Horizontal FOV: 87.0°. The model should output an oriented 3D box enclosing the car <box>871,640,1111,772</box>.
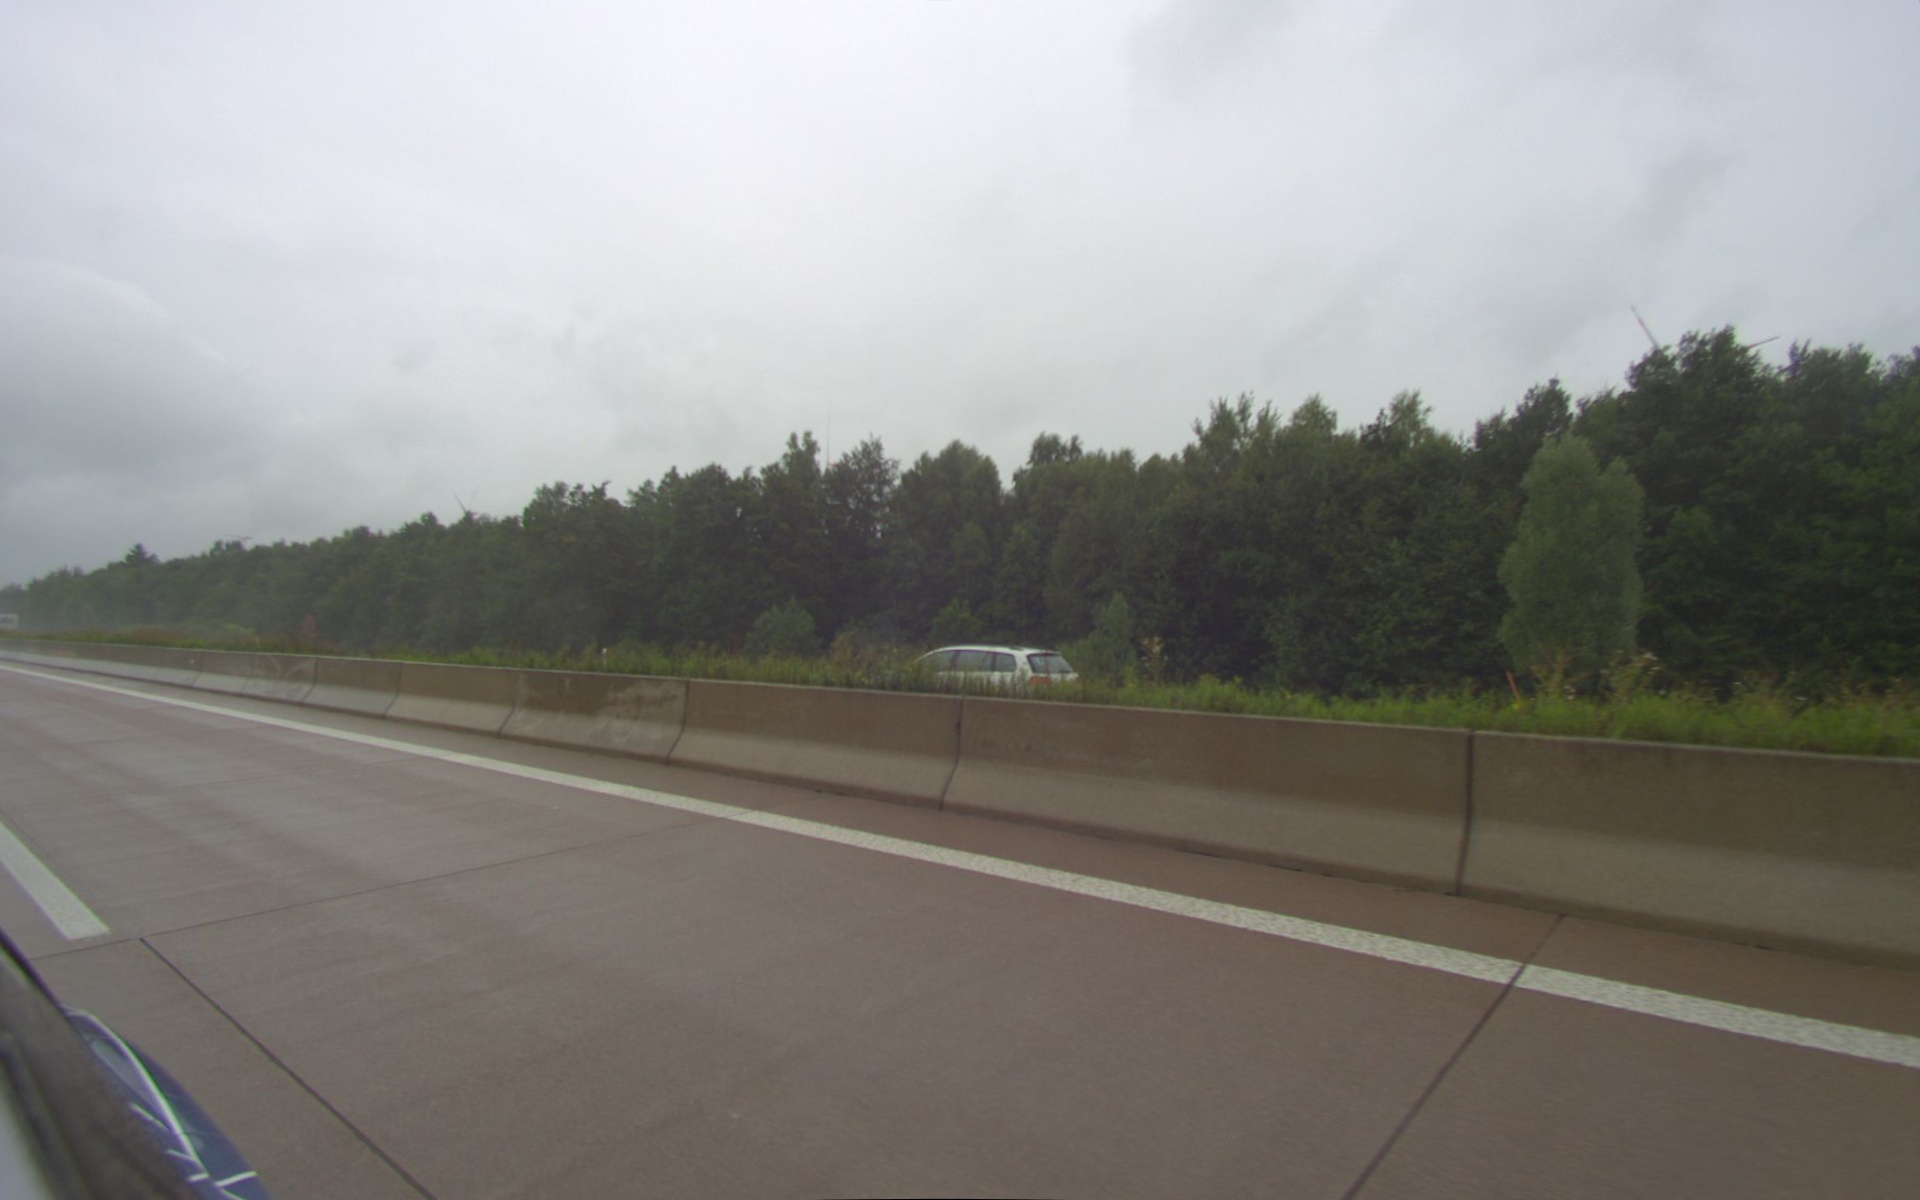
[{"bbox_3d":[0.508,1.810,18.532,3.996,2.029,1.974,-1,0,39],"label":"car"}]
